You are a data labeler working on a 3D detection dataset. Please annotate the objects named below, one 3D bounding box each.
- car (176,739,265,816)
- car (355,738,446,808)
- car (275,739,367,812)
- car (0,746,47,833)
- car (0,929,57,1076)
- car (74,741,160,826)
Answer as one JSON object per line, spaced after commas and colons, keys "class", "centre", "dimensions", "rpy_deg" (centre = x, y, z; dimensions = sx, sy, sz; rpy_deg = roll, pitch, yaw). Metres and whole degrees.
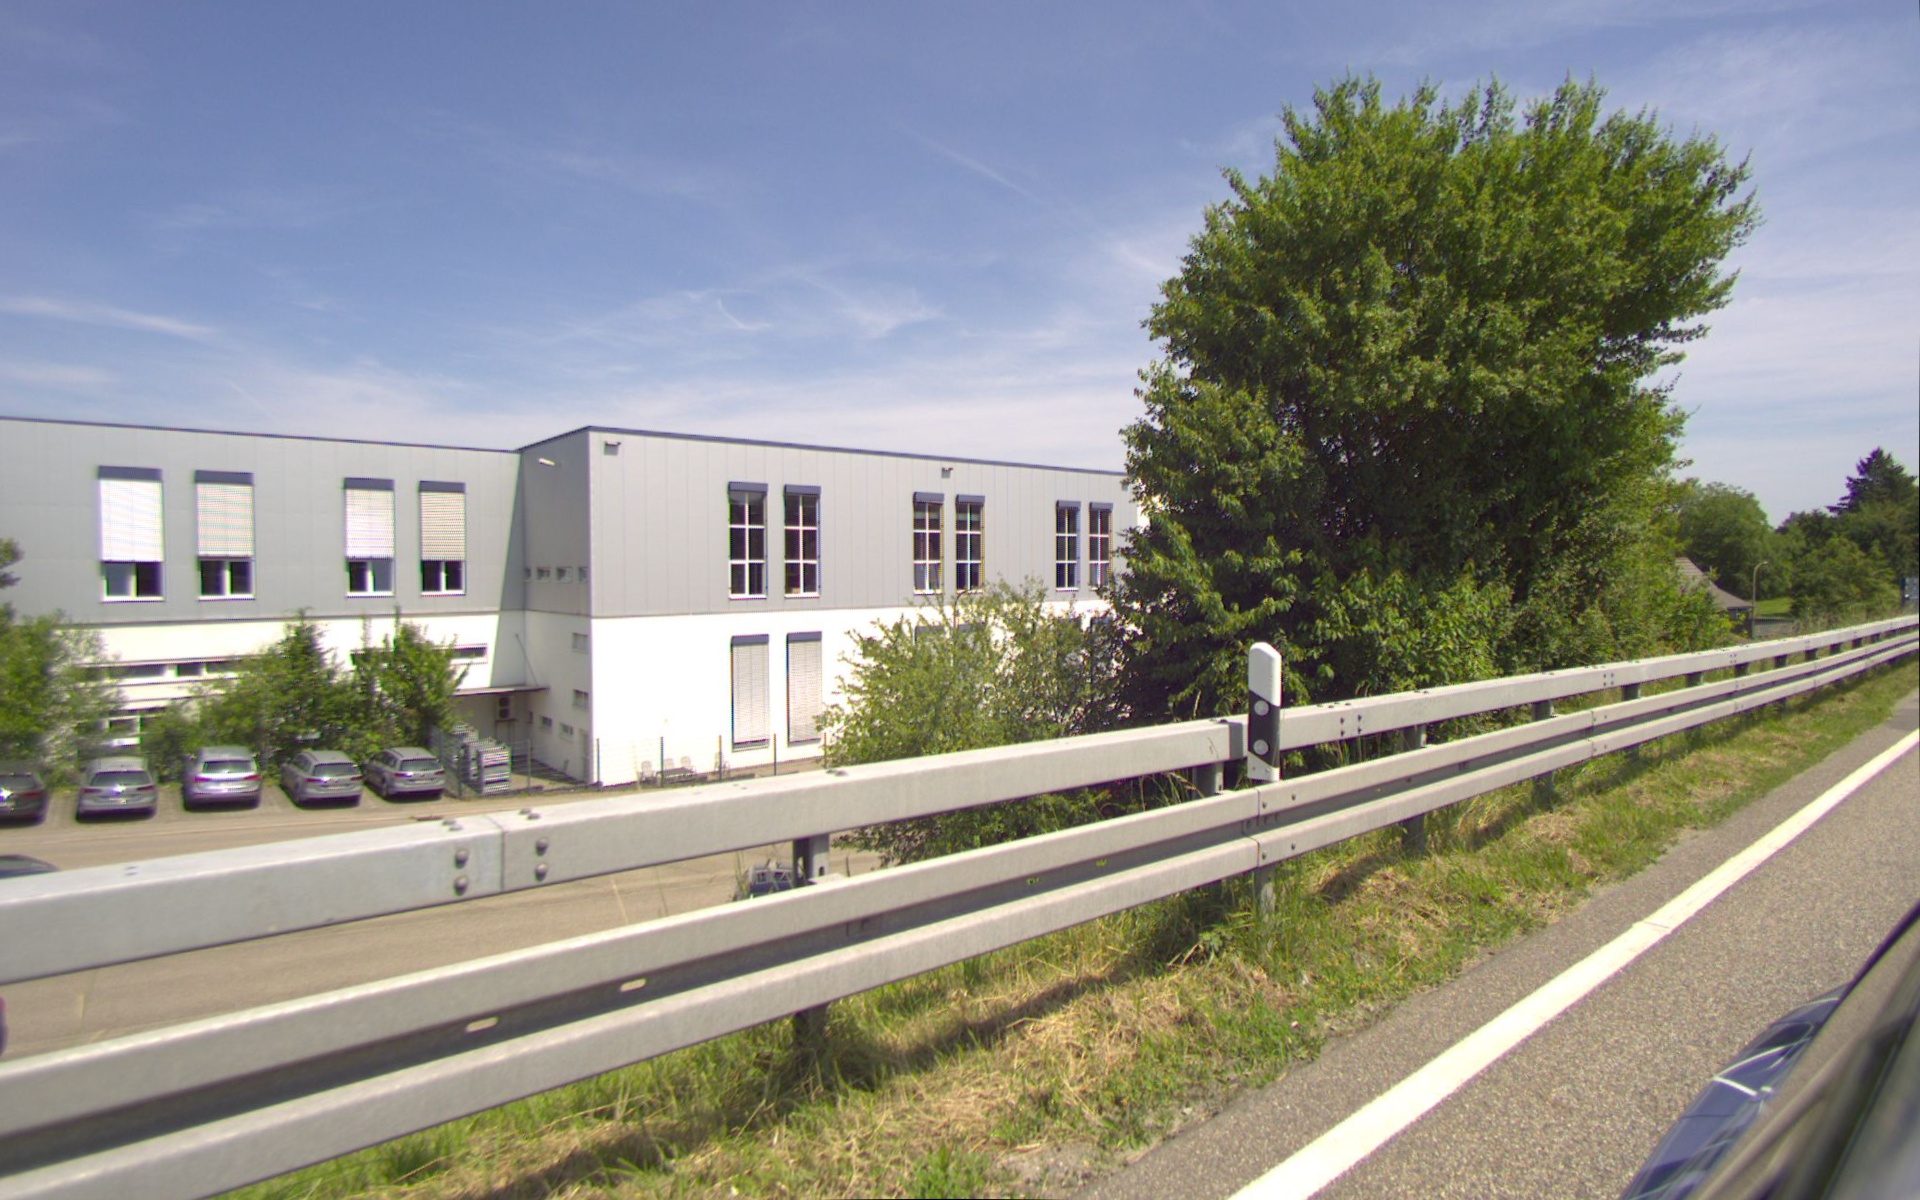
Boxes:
{"class": "car", "centre": [-23.226, 5.487, 31.726], "dimensions": [1.878, 1.592, 4.045], "rpy_deg": [3, 0, -41]}
{"class": "car", "centre": [-19.196, 5.856, 34.636], "dimensions": [1.878, 1.592, 4.045], "rpy_deg": [3, 0, -41]}
{"class": "car", "centre": [-20.886, 5.648, 33.004], "dimensions": [1.878, 1.592, 4.045], "rpy_deg": [3, 0, -41]}
{"class": "car", "centre": [-26.736, 5.244, 28.186], "dimensions": [1.788, 1.592, 4.580], "rpy_deg": [3, 0, -41]}
{"class": "car", "centre": [-12.717, 5.164, 11.655], "dimensions": [1.752, 1.564, 4.416], "rpy_deg": [1, -5, -18]}
{"class": "car", "centre": [-24.896, 5.318, 29.860], "dimensions": [1.788, 1.592, 4.580], "rpy_deg": [3, 0, -41]}
